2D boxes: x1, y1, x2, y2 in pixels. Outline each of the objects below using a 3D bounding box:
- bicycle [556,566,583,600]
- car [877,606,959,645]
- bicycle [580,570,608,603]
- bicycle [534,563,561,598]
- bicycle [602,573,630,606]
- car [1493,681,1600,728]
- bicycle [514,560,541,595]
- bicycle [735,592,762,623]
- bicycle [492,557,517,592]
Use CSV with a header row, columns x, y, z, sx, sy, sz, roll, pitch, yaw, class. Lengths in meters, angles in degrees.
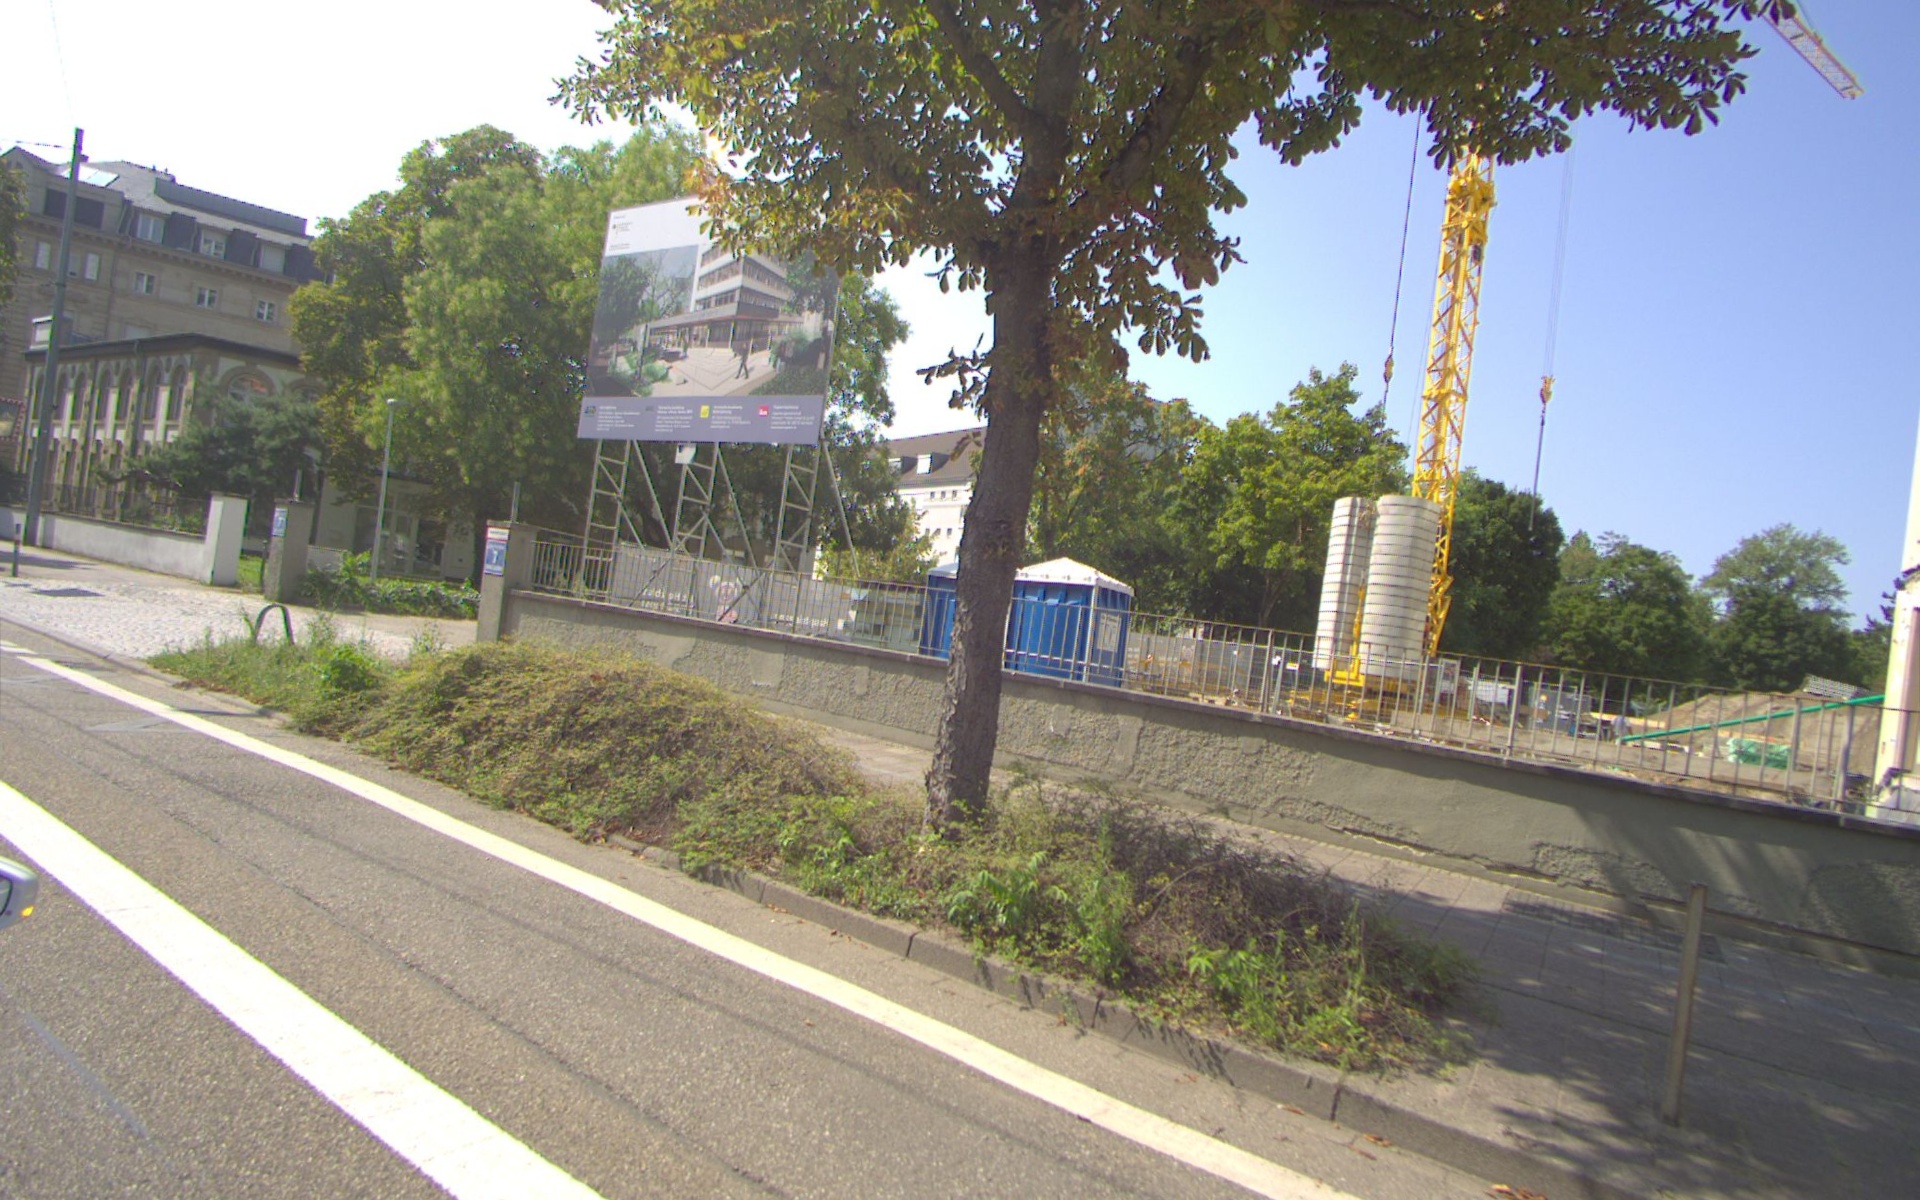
x,y,z,sx,sy,sz,roll,pitch,yaw,class
-16.659,-0.719,42.900,0.762,1.318,2.511,8,-2,-25,bicycle
-2.433,1.487,58.253,4.255,1.613,1.788,9,-2,-28,car
-15.911,-0.596,43.641,0.762,1.318,2.511,8,-2,-25,bicycle
-17.389,-0.825,42.375,0.762,1.318,2.511,8,-2,-25,bicycle
-15.086,-0.474,44.106,0.762,1.318,2.259,8,-2,-25,bicycle
27.043,4.802,46.533,1.852,1.546,3.899,8,-1,-17,car
-18.016,-0.935,41.869,0.762,1.318,2.511,8,-2,-25,bicycle
-9.898,0.337,47.101,0.602,1.318,2.160,8,-2,-25,bicycle
-18.849,-1.052,41.588,0.762,1.318,2.511,8,-2,-25,bicycle
